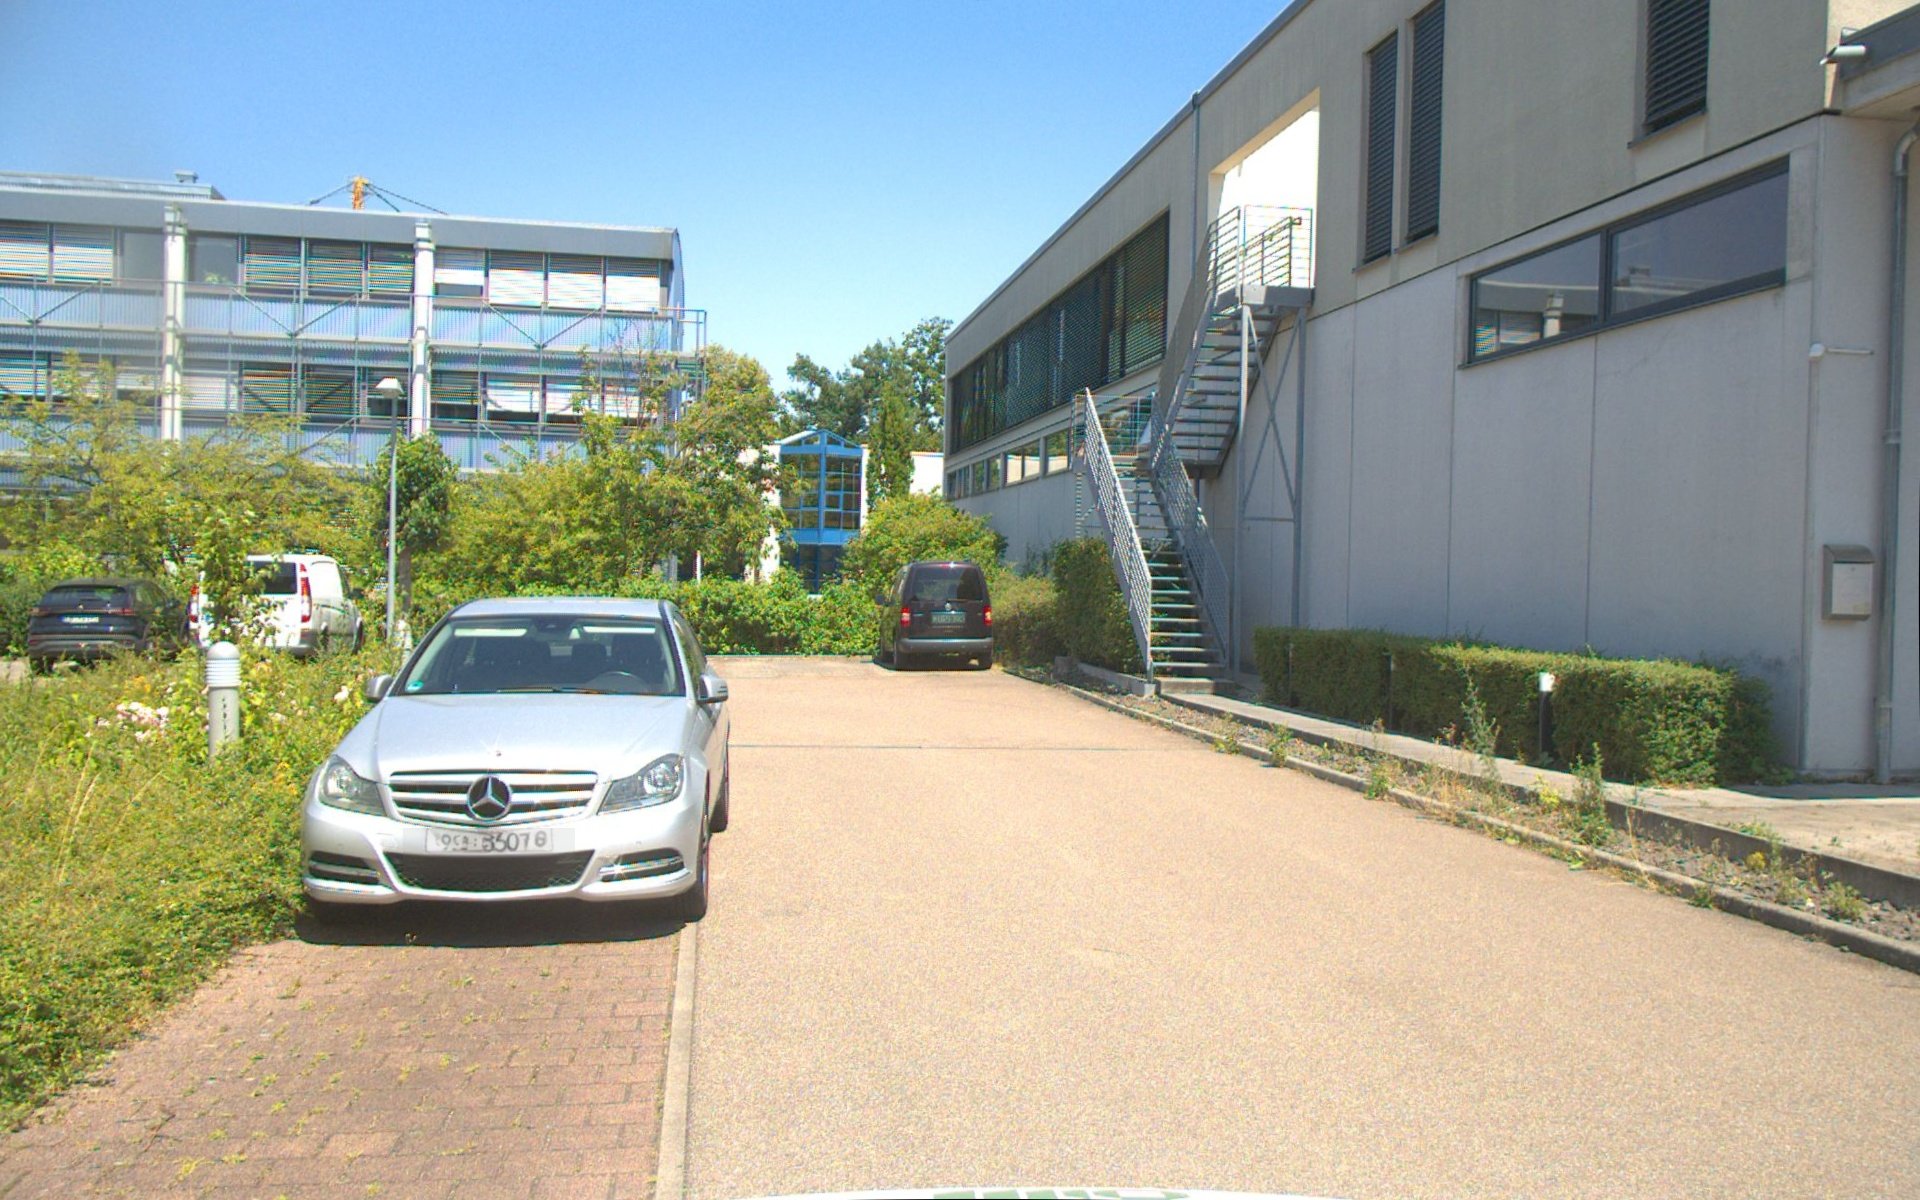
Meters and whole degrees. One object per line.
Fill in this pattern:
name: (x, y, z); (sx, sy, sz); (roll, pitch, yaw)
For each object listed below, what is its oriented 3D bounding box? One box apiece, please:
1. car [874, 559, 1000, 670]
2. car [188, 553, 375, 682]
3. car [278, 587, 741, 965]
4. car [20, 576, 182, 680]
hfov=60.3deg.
car: (-0.483, 0.207, 29.950); (1.711, 1.869, 3.992); (0, 1, -9)
car: (-11.102, 0.201, 27.416); (1.878, 1.938, 4.797); (0, 2, -10)
car: (-2.064, 0.679, 8.689); (1.696, 1.482, 4.142); (0, 0, -6)
car: (-14.061, 0.393, 27.290); (1.727, 1.502, 3.980); (0, 2, -18)
